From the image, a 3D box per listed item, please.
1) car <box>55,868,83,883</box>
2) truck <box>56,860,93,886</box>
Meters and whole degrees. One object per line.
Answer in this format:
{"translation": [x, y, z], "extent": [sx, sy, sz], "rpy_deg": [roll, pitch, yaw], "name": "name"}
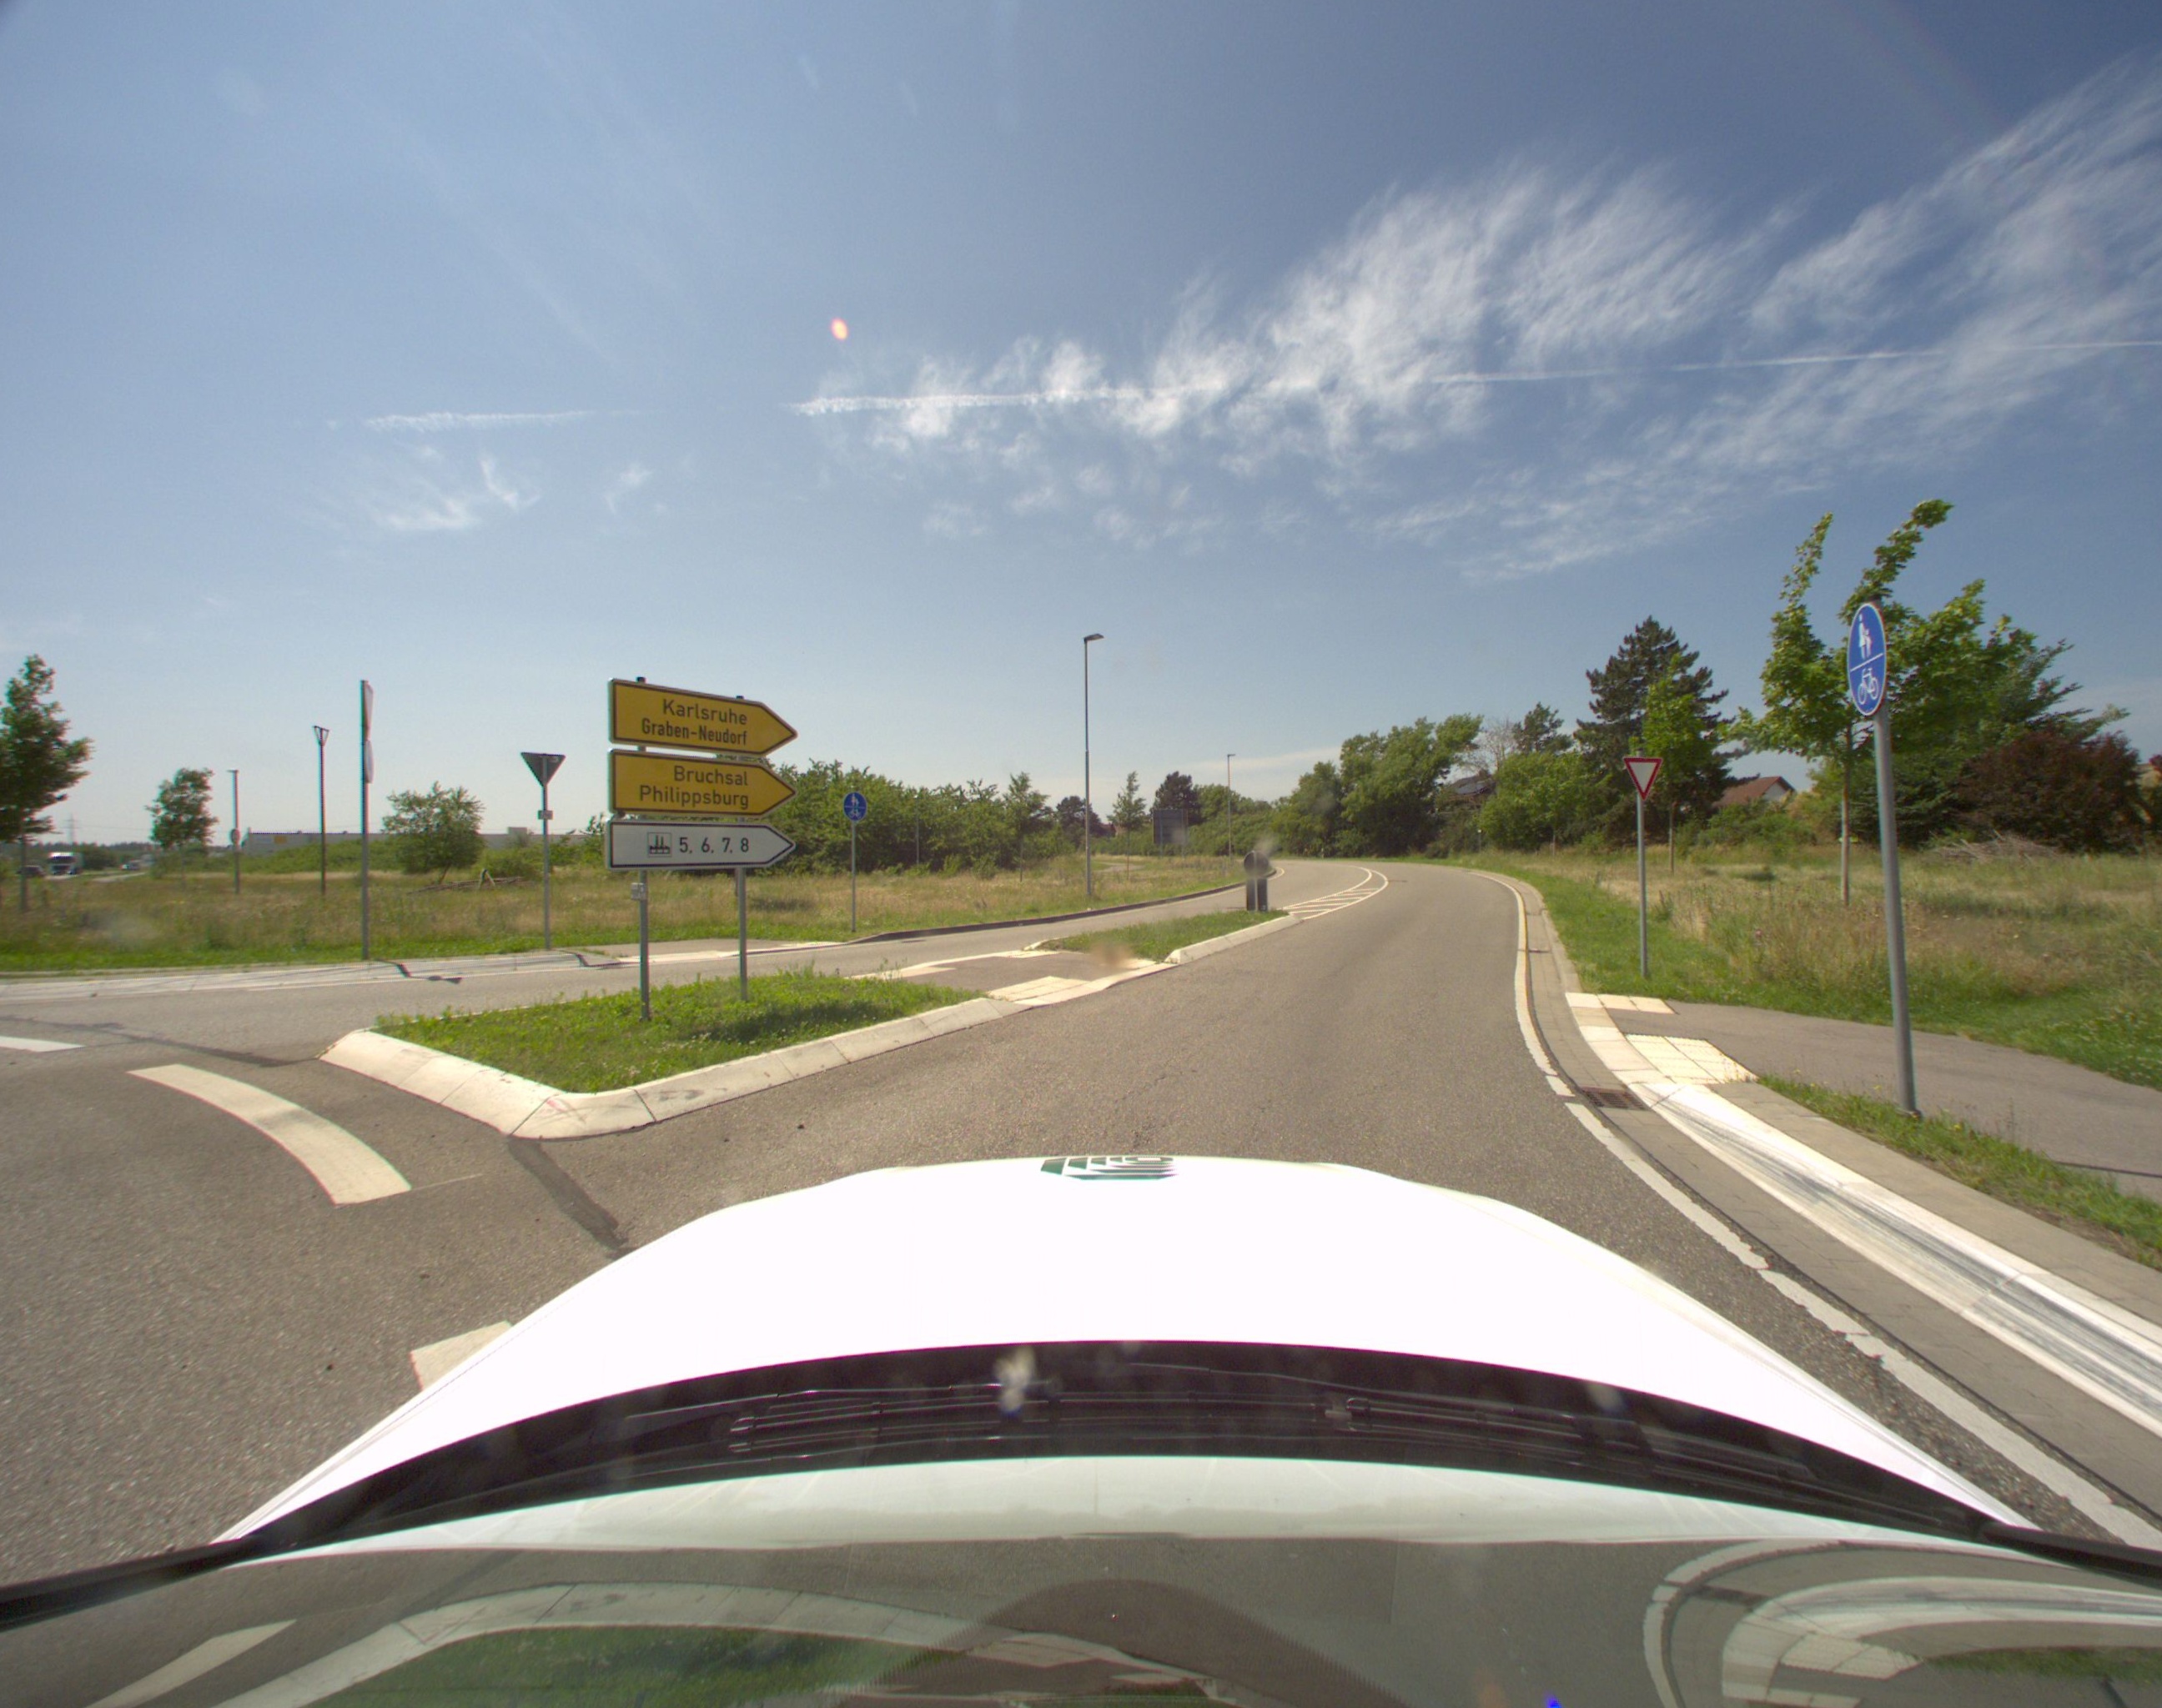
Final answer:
{"translation": [-129.915, 2.774, 104.597], "extent": [4.119, 1.846, 2.012], "rpy_deg": [-1, 0, 42], "name": "car"}
{"translation": [-181.750, 3.368, 147.157], "extent": [11.906, 4.337, 3.296], "rpy_deg": [-1, 0, 44], "name": "truck"}
